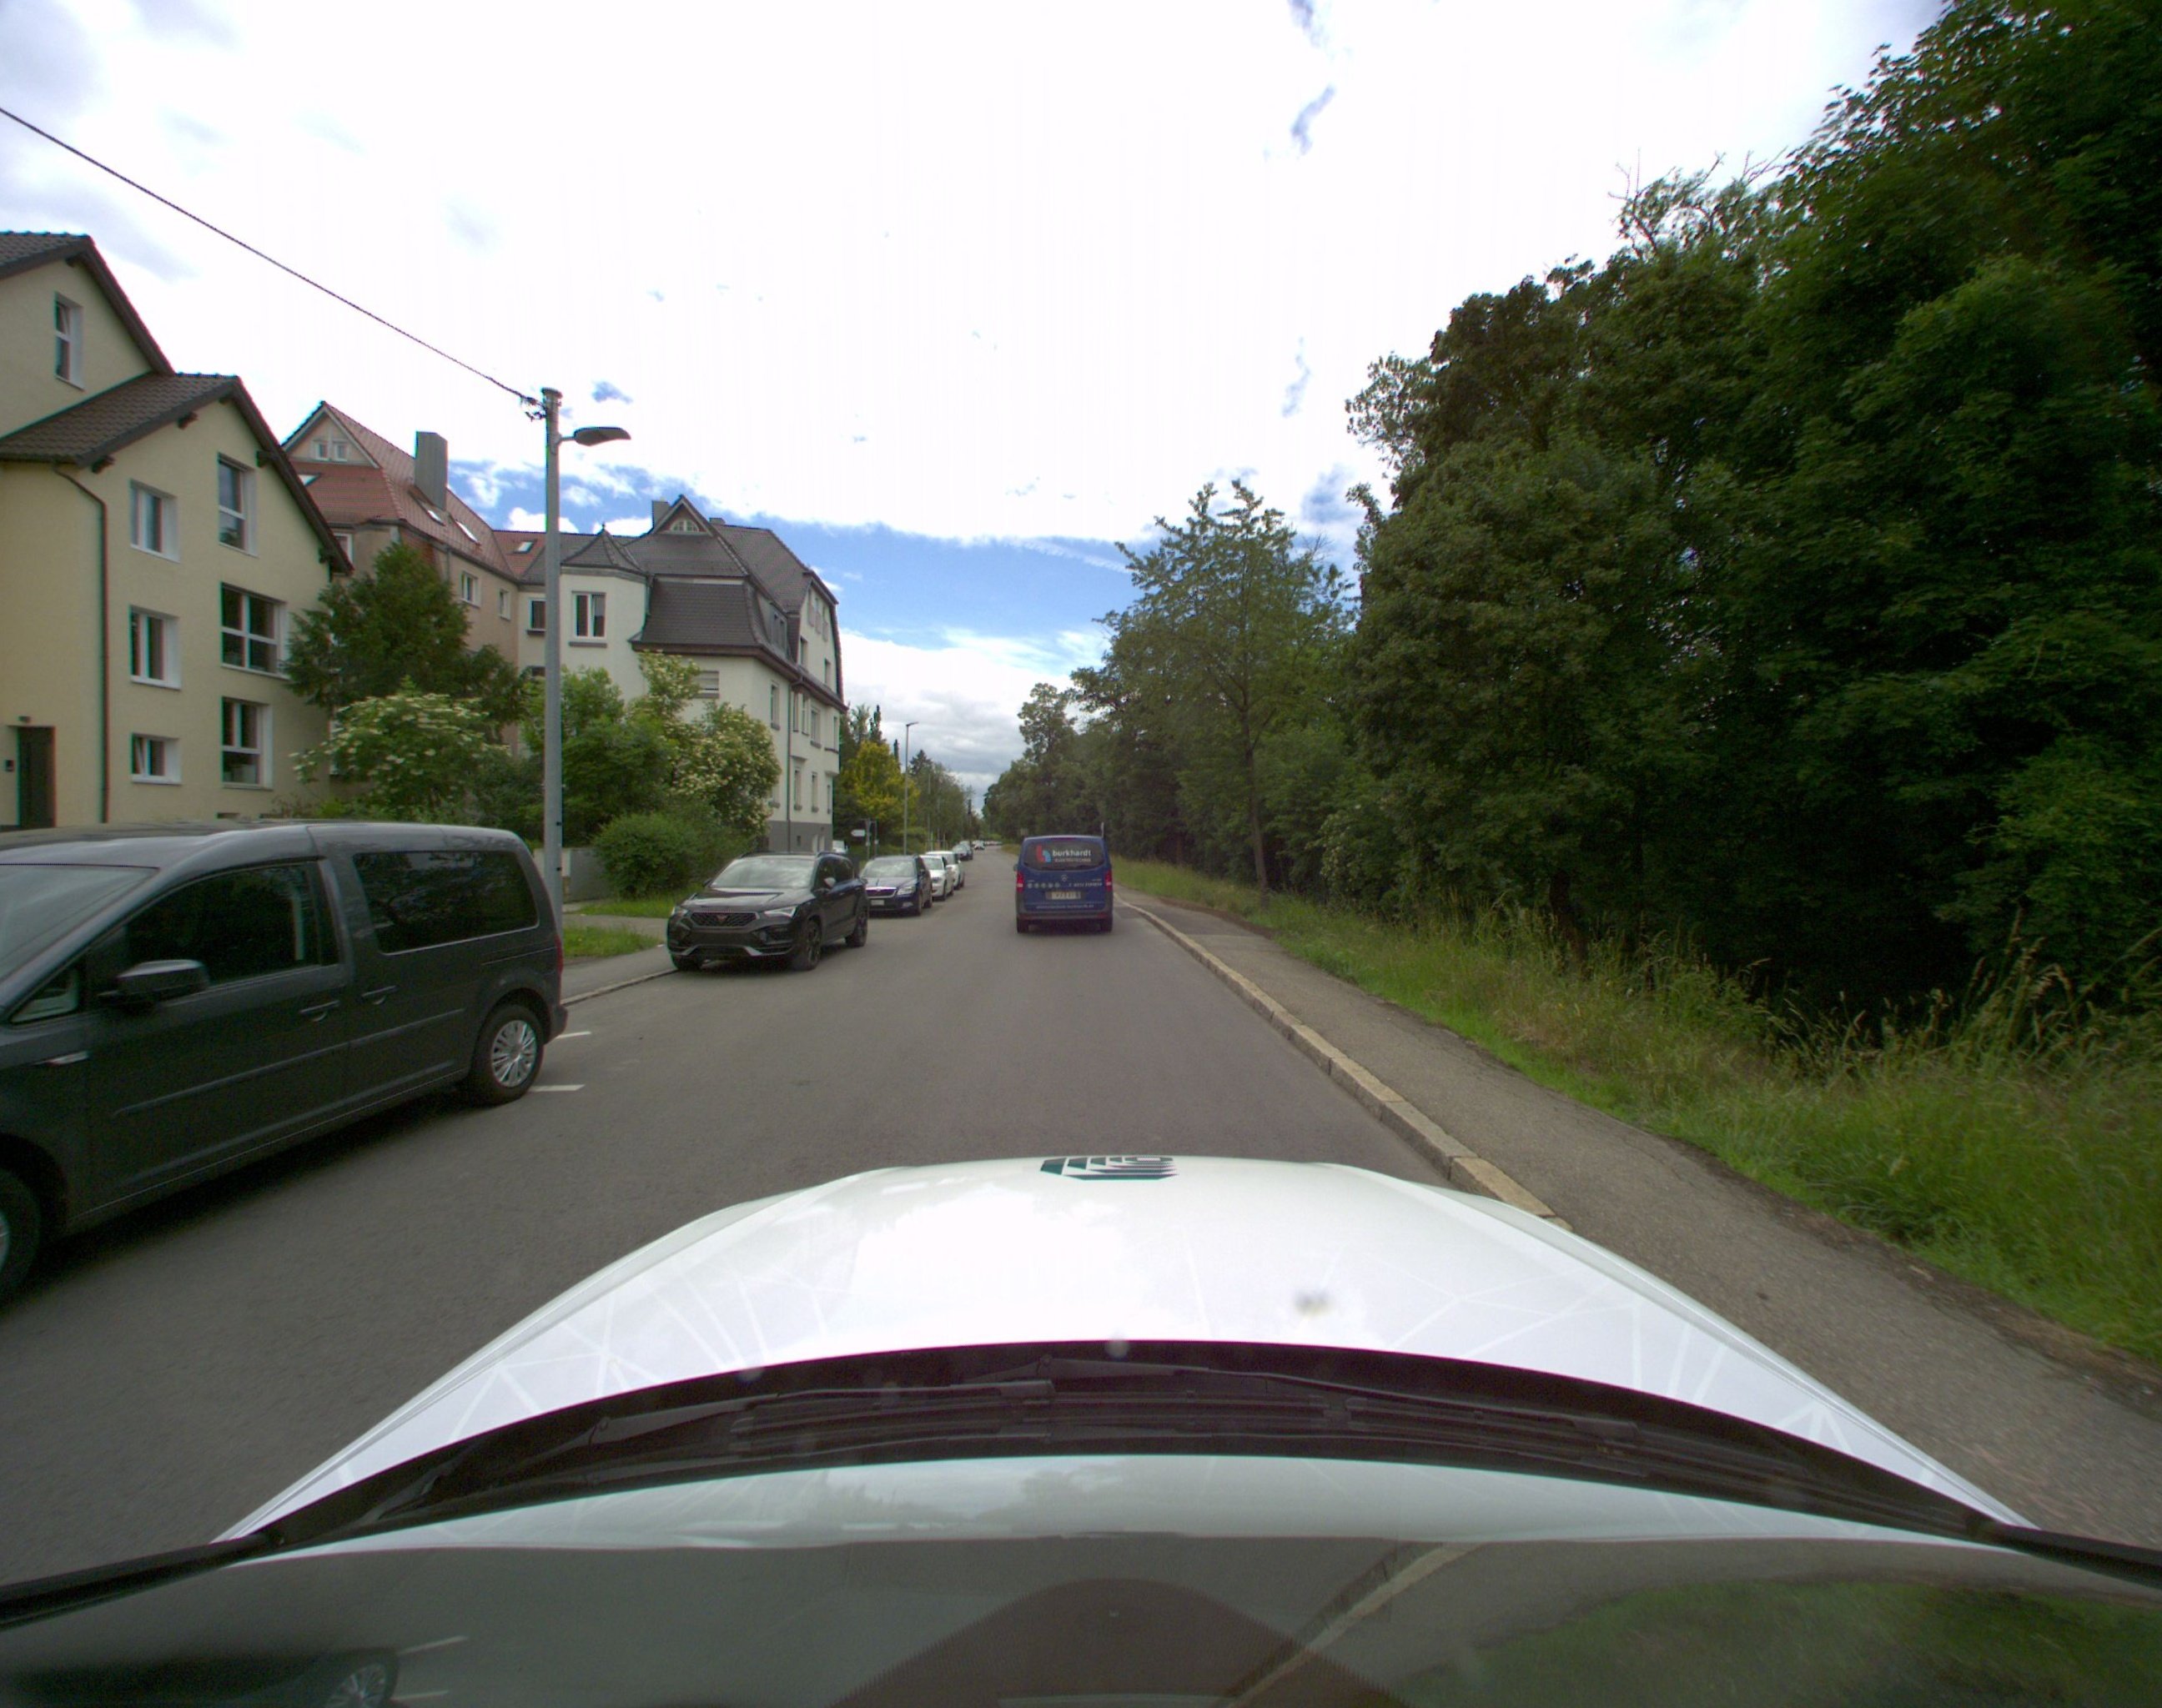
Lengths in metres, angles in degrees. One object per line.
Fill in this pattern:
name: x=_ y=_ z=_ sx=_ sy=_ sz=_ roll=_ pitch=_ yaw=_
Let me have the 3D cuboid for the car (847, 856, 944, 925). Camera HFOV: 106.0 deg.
car: x=-4.628 y=0.852 z=20.817 sx=1.602 sy=1.513 sz=3.855 roll=-1 pitch=1 yaw=-1

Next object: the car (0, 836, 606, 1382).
car: x=-4.428 y=0.844 z=3.860 sx=1.783 sy=1.764 sz=4.384 roll=-2 pitch=0 yaw=-1

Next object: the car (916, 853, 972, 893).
car: x=-5.430 y=0.714 z=32.638 sx=1.602 sy=1.408 sz=3.855 roll=-1 pitch=1 yaw=-1

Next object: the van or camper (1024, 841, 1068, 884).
van or camper: x=-1.813 y=0.357 z=40.625 sx=2.016 sy=1.956 sz=4.889 roll=-2 pitch=1 yaw=-4

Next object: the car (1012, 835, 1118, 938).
car: x=-0.424 y=0.545 z=16.976 sx=1.910 sy=1.837 sz=4.288 roll=-1 pitch=1 yaw=-4

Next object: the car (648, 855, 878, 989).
car: x=-4.477 y=0.846 z=12.241 sx=1.810 sy=1.615 sz=4.222 roll=-1 pitch=0 yaw=-1

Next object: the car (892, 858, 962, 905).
car: x=-4.920 y=0.837 z=26.465 sx=1.603 sy=1.342 sz=3.854 roll=-1 pitch=1 yaw=-1
